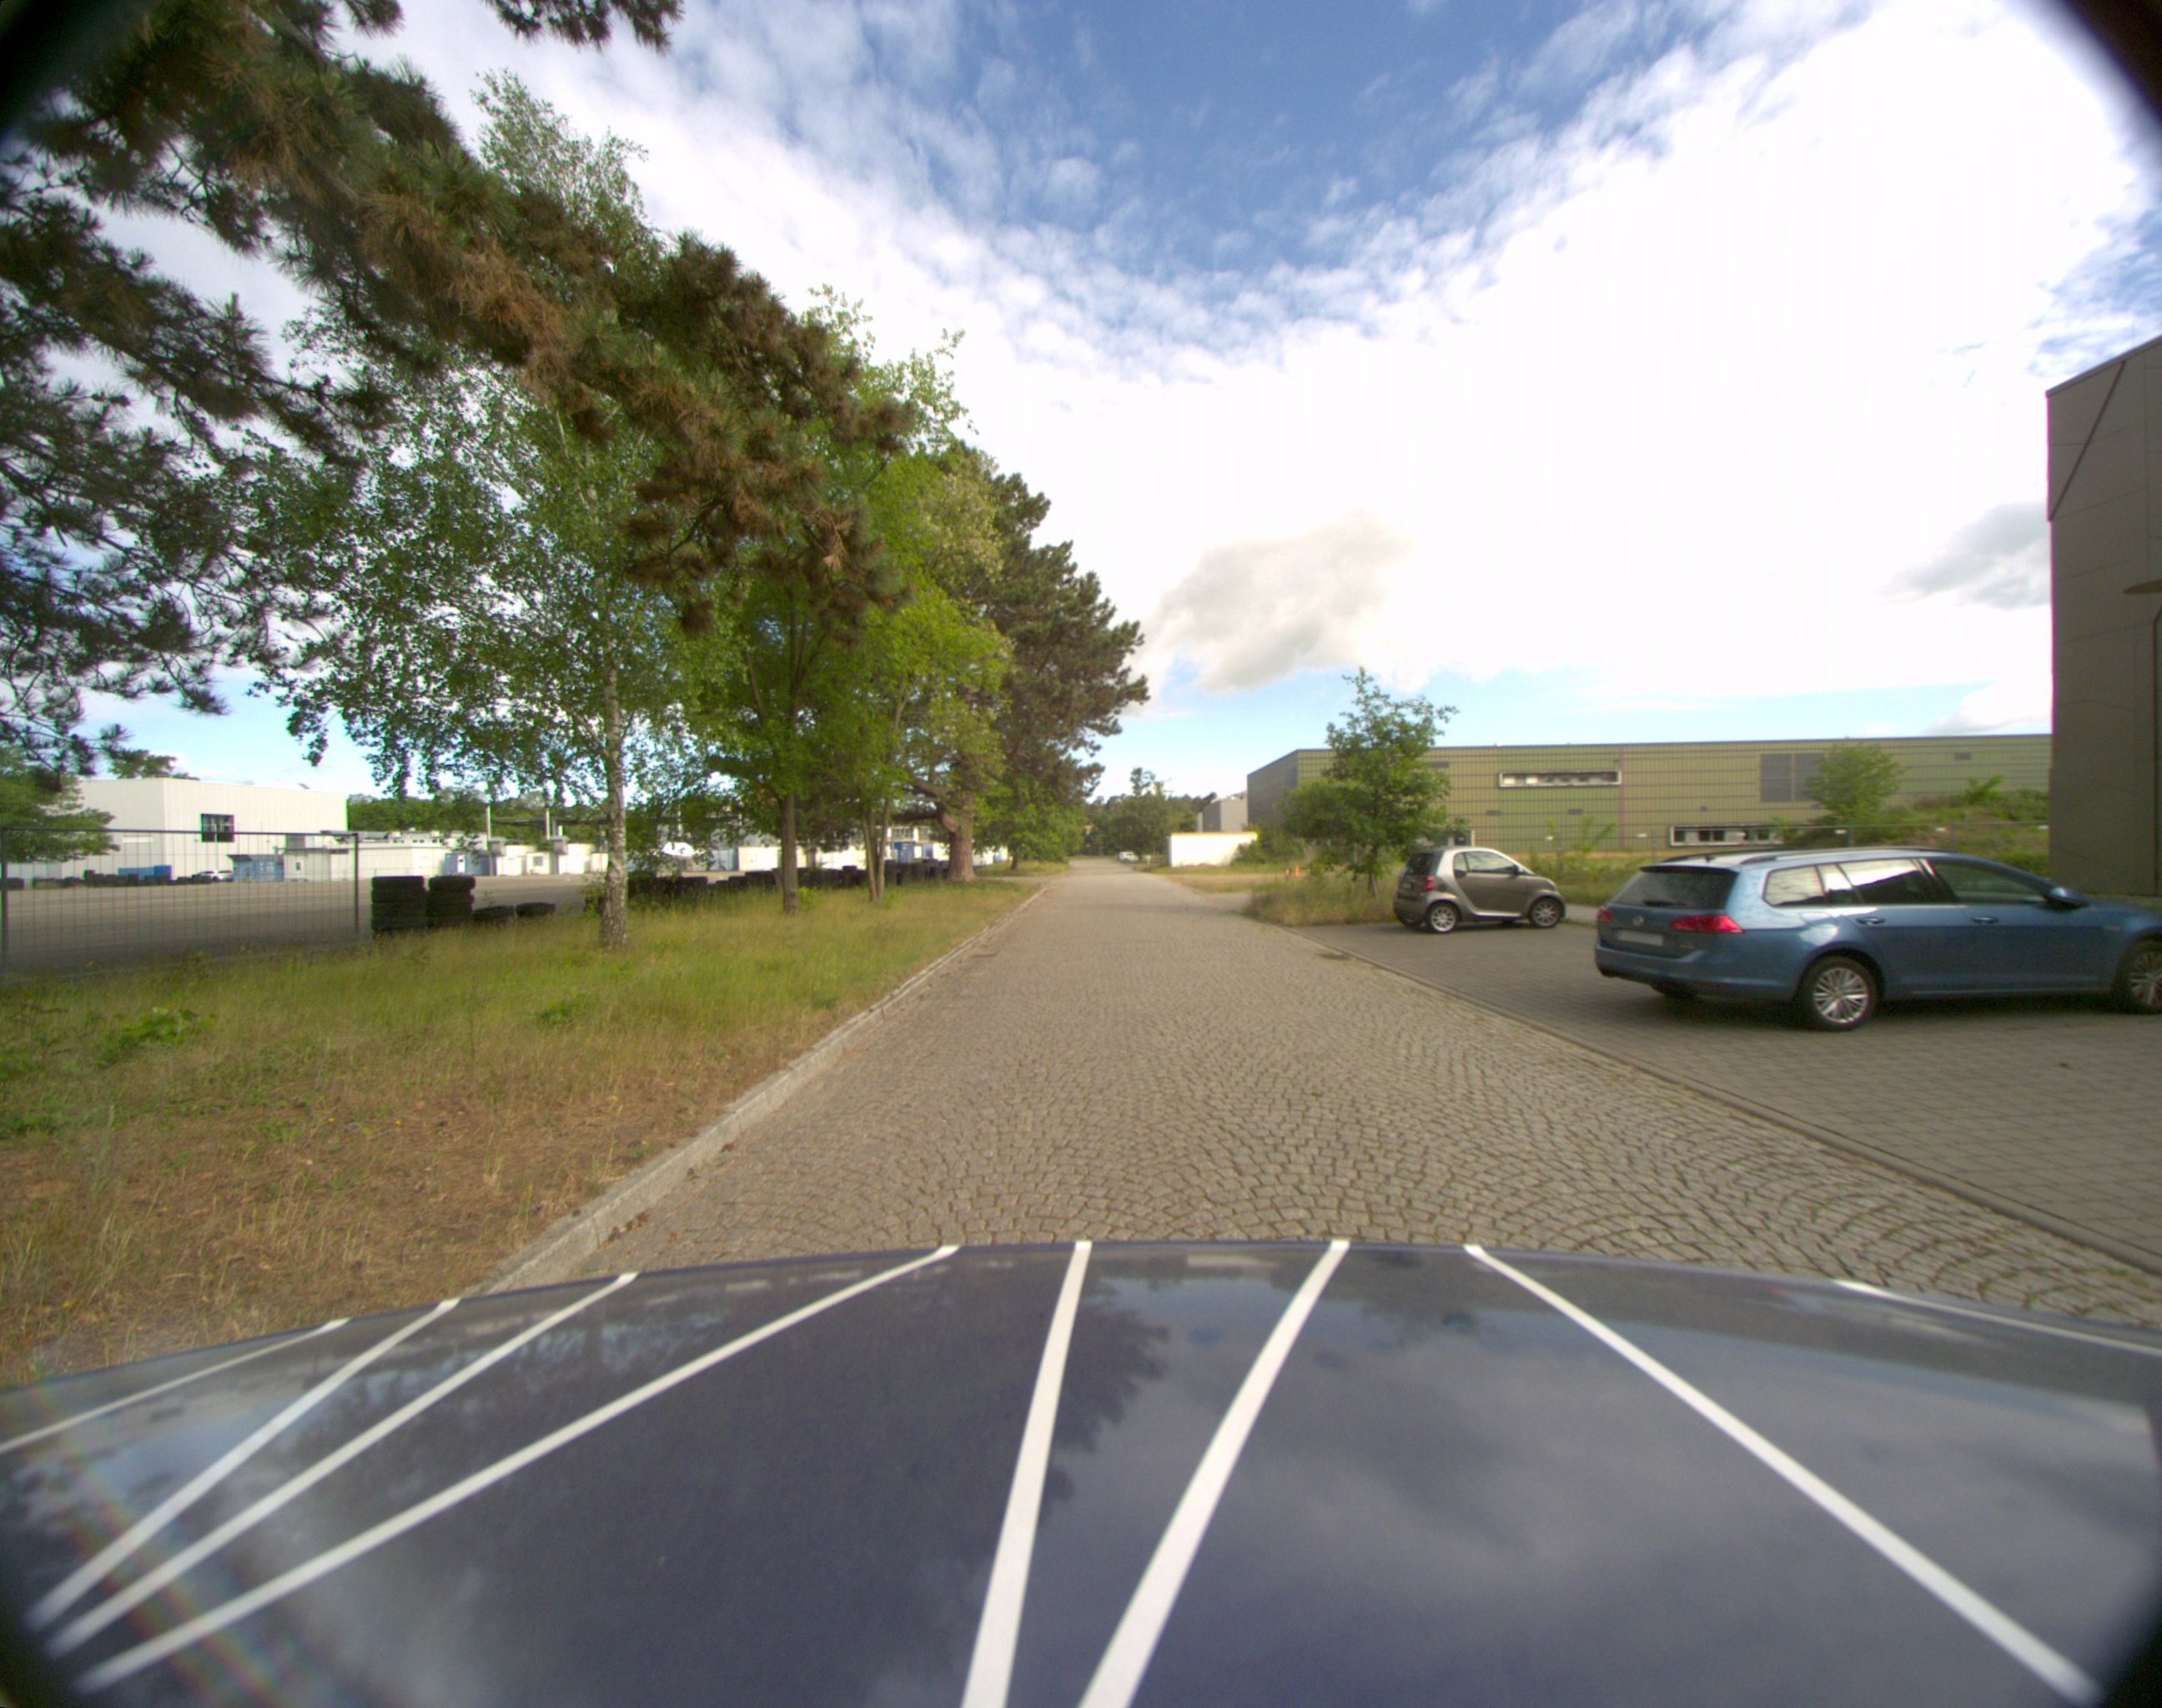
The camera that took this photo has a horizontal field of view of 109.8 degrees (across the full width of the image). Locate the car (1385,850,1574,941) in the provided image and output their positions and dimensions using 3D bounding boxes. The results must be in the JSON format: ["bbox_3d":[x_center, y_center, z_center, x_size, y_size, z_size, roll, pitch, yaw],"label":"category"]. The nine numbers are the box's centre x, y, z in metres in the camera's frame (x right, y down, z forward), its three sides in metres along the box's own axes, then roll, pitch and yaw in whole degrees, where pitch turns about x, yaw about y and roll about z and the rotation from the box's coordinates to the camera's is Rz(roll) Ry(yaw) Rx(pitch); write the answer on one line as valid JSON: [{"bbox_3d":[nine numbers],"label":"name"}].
[{"bbox_3d":[7.377,0.734,14.249,2.661,1.502,1.610,-2,1,0],"label":"car"}]

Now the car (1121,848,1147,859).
[{"bbox_3d":[8.473,-0.053,121.464,3.996,1.604,1.797,-1,1,4],"label":"car"}]

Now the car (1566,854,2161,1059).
[{"bbox_3d":[7.157,0.809,6.957,4.317,1.420,1.773,-2,1,-2],"label":"car"}]
